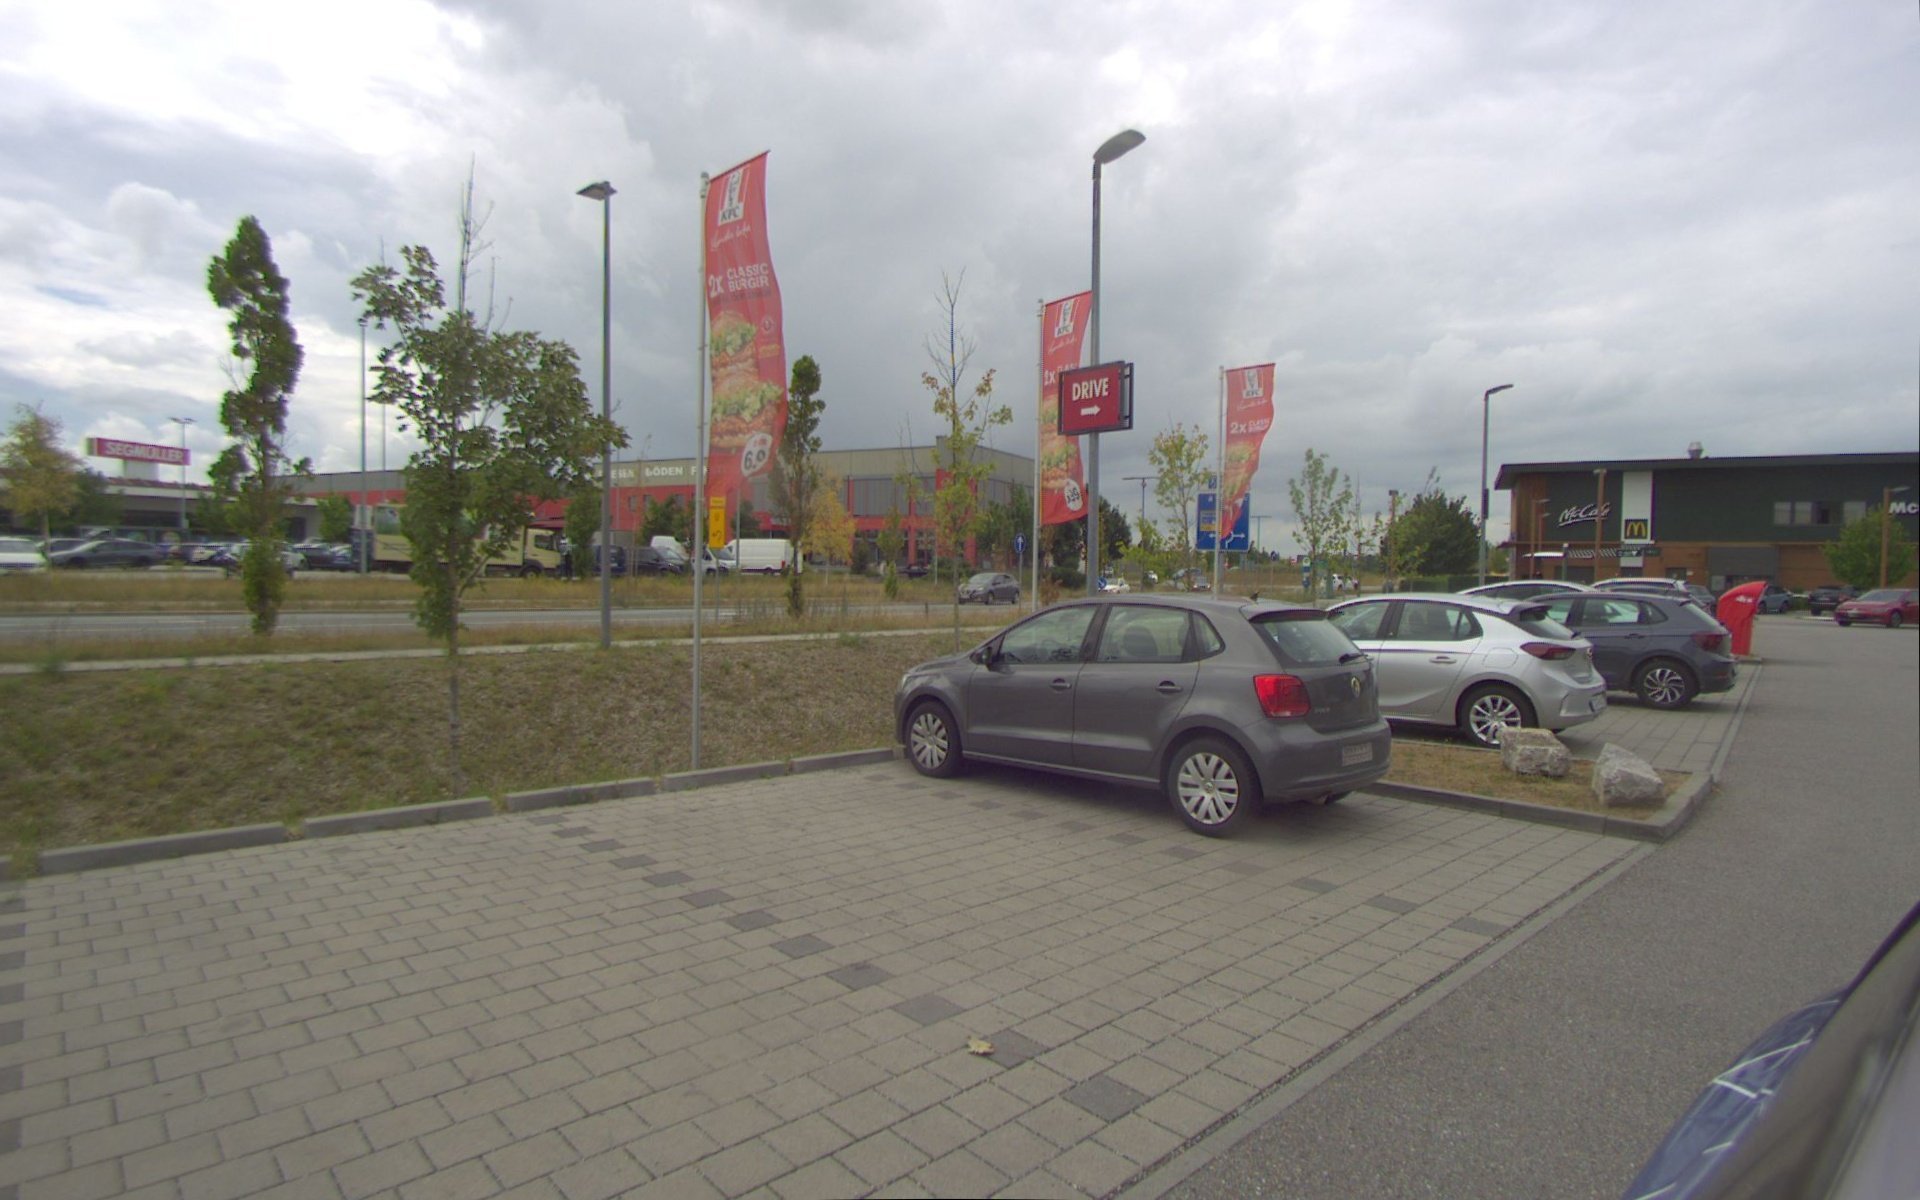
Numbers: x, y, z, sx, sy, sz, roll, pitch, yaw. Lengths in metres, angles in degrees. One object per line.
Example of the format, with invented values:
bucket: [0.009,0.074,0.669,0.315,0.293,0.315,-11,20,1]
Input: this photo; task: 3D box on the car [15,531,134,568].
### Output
car: [-45.580,-2.574,52.188,1.984,1.793,4.275,3,3,30]

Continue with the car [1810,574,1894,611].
car: [47.795,-0.418,54.220,3.918,1.771,2.004,2,2,-27]

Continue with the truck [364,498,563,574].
truck: [-23.348,-2.982,48.110,8.255,3.235,3.037,1,3,-23]

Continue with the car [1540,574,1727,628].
car: [19.778,0.019,29.974,4.480,1.485,1.926,0,0,32]

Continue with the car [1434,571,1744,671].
car: [11.121,0.319,18.062,4.522,1.560,1.899,0,1,38]

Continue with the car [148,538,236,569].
car: [-50.353,-3.025,66.419,1.985,1.860,4.140,3,3,32]

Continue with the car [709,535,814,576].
car: [-12.458,-2.789,63.360,6.445,2.295,2.324,3,3,28]

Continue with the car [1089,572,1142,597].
car: [9.945,-0.973,64.654,1.744,1.510,4.078,2,1,35]

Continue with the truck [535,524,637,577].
truck: [-28.805,-3.859,77.903,8.183,3.789,2.631,3,3,29]

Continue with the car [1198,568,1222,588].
car: [23.719,-2.083,95.830,1.973,1.726,3.980,2,3,17]

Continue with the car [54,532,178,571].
car: [-41.058,-2.351,49.330,1.983,1.793,4.277,3,3,29]

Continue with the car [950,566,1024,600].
car: [1.344,-0.800,48.972,1.742,1.510,4.083,2,1,32]

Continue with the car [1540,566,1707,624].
car: [21.045,-0.166,32.336,4.338,1.734,1.970,0,0,32]

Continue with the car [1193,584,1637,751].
car: [4.668,0.567,10.718,3.926,1.430,1.811,0,1,44]

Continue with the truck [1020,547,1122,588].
truck: [13.393,-4.023,123.248,11.922,4.553,3.721,4,3,35]

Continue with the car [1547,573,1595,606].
car: [34.193,-0.625,56.721,1.793,1.710,4.155,3,3,25]

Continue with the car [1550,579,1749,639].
car: [17.398,0.210,25.795,4.038,1.430,1.867,0,0,32]

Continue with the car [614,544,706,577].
car: [-16.819,-2.233,56.733,5.027,1.659,2.056,3,2,30]

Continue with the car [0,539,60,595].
car: [-33.617,-1.196,35.594,4.293,1.793,1.976,4,3,35]

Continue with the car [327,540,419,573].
car: [-33.120,-2.450,57.235,1.980,1.793,4.106,3,3,26]

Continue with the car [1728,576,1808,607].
car: [44.697,-0.476,55.987,3.823,1.603,1.755,1,3,-23]

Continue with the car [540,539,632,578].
car: [-19.667,-2.175,53.177,5.038,1.908,2.052,2,1,35]

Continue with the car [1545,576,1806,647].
car: [16.082,0.232,23.106,4.704,1.475,1.890,0,0,32]

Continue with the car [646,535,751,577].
car: [-15.420,-2.620,59.588,6.008,2.241,2.391,3,2,30]

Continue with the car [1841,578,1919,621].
car: [34.644,-0.009,37.178,3.915,1.482,1.691,1,1,-19]

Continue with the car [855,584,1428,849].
car: [1.121,0.614,7.548,1.699,1.446,3.989,-1,1,-45]

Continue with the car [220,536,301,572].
car: [-37.524,-2.506,54.413,1.959,1.793,4.008,2,3,-8]

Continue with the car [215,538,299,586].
car: [-28.600,-1.561,41.119,4.306,1.793,1.902,4,4,42]

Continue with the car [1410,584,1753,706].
car: [8.381,0.524,13.810,3.791,1.430,1.713,0,1,40]

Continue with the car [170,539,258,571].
car: [-47.910,-2.872,65.053,1.985,1.860,4.141,3,3,31]
